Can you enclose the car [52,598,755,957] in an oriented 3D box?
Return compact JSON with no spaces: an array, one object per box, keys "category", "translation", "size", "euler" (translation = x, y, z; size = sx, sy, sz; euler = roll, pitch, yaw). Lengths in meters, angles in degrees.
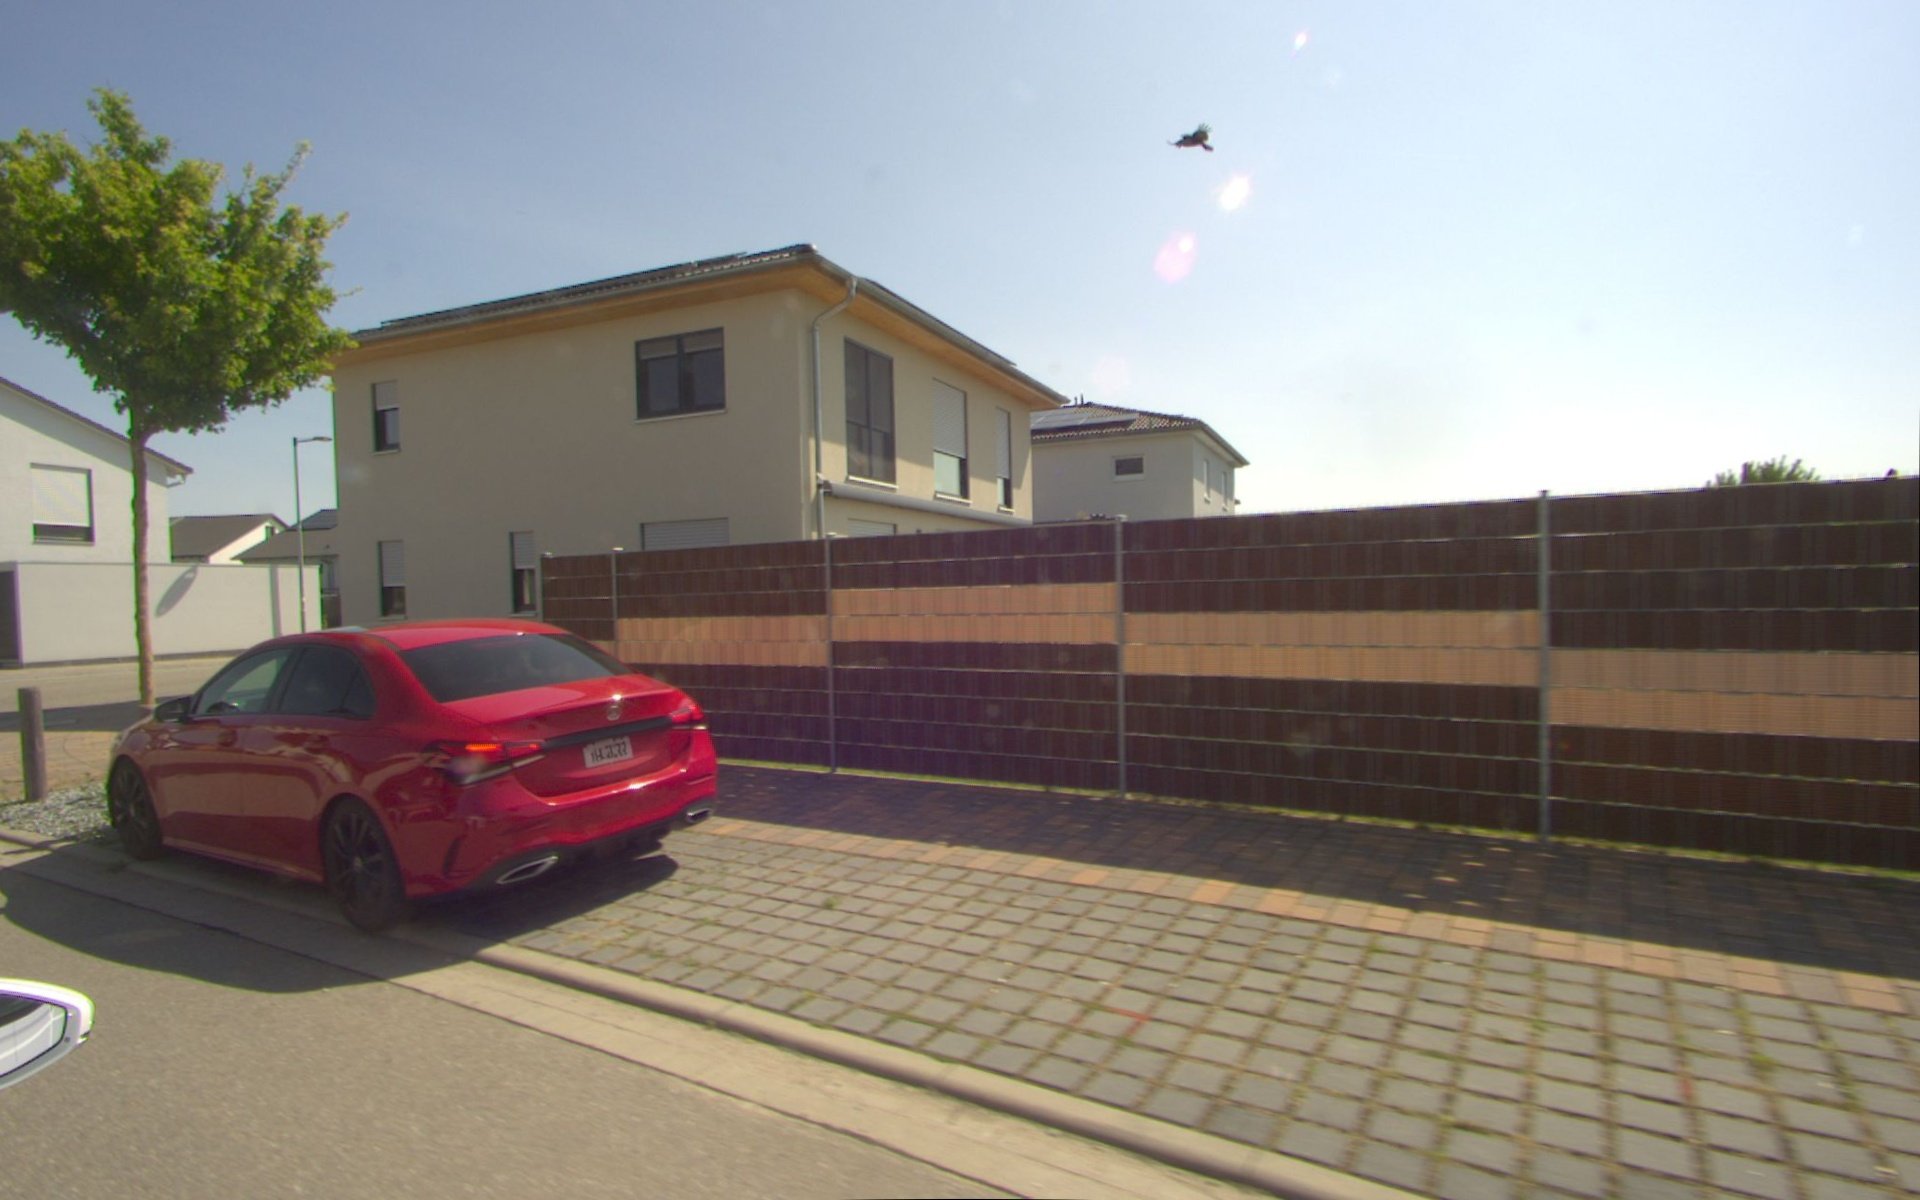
[{"category":"car","translation":[-3.547,0.791,6.135],"size":[4.454,1.457,1.758],"euler":[-1,2,32]}]
